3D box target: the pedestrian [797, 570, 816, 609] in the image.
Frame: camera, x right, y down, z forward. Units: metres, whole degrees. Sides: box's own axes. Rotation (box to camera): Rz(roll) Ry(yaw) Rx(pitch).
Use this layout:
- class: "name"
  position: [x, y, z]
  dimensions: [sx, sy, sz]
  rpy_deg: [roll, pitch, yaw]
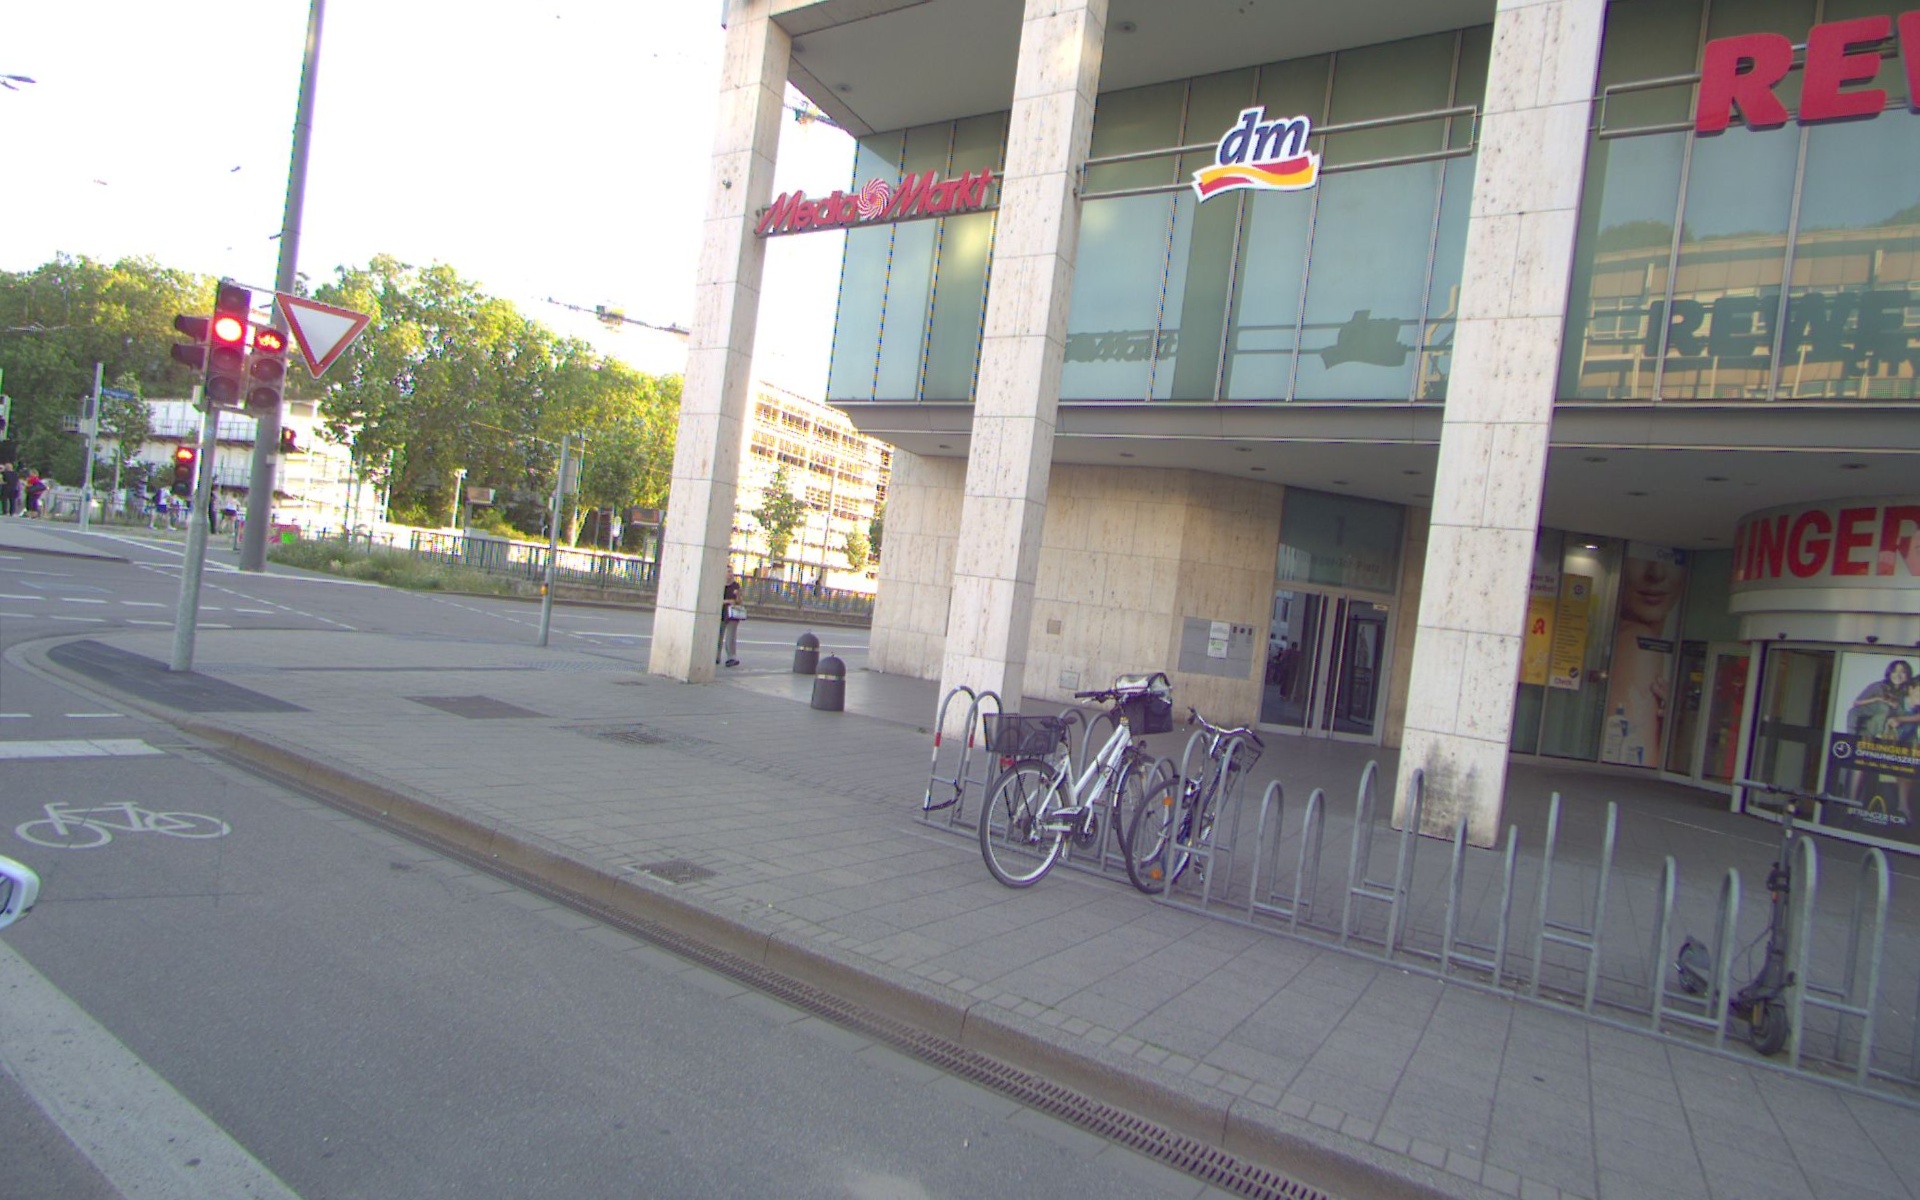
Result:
- class: "pedestrian"
  position: [-8.409, -0.584, 55.024]
  dimensions: [0.559, 2.039, 0.575]
  rpy_deg: [8, 1, 28]

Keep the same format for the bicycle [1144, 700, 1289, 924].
- class: "bicycle"
  position: [1.676, 1.245, 6.376]
  dimensions: [0.474, 1.092, 1.773]
  rpy_deg: [8, 0, 24]

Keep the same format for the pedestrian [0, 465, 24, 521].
- class: "pedestrian"
  position: [-32.849, -3.692, 34.602]
  dimensions: [0.803, 1.814, 0.790]
  rpy_deg: [7, 1, -44]

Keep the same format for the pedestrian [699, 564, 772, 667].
- class: "pedestrian"
  position: [-3.858, 0.283, 17.335]
  dimensions: [0.696, 1.659, 0.791]
  rpy_deg: [8, 1, 31]

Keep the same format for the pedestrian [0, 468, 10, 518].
- class: "pedestrian"
  position: [-33.979, -3.806, 35.462]
  dimensions: [0.570, 1.699, 0.631]
  rpy_deg: [7, 1, -44]

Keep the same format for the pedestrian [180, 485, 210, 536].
- class: "pedestrian"
  position: [-28.380, -3.314, 37.320]
  dimensions: [0.708, 1.746, 0.660]
  rpy_deg: [6, 1, -41]

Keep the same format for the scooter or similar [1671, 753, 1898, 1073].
- class: "scooter or similar"
  position: [3.989, 1.442, 4.959]
  dimensions: [0.484, 1.214, 1.196]
  rpy_deg: [8, 1, 27]

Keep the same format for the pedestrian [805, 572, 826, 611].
- class: "pedestrian"
  position: [-7.875, -0.475, 54.781]
  dimensions: [0.631, 2.039, 0.626]
  rpy_deg: [8, 1, 28]

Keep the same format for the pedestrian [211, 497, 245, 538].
- class: "pedestrian"
  position: [-28.112, -3.159, 38.645]
  dimensions: [0.666, 1.459, 0.714]
  rpy_deg: [7, 1, -1]

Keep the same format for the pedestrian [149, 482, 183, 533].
- class: "pedestrian"
  position: [-29.283, -3.410, 37.100]
  dimensions: [0.701, 1.746, 0.666]
  rpy_deg: [8, 1, 34]

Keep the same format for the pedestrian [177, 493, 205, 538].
- class: "pedestrian"
  position: [-29.403, -3.243, 38.488]
  dimensions: [0.527, 1.612, 0.571]
  rpy_deg: [8, 1, 32]

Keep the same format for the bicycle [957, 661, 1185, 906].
- class: "bicycle"
  position: [0.702, 1.012, 5.928]
  dimensions: [0.540, 1.198, 1.479]
  rpy_deg: [8, 1, 36]

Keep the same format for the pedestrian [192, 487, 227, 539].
- class: "pedestrian"
  position: [-27.295, -3.163, 36.591]
  dimensions: [0.701, 1.746, 0.666]
  rpy_deg: [8, 1, 33]

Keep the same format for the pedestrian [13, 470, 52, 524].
- class: "pedestrian"
  position: [-32.721, -3.626, 35.497]
  dimensions: [0.696, 1.756, 0.843]
  rpy_deg: [8, 1, 44]
